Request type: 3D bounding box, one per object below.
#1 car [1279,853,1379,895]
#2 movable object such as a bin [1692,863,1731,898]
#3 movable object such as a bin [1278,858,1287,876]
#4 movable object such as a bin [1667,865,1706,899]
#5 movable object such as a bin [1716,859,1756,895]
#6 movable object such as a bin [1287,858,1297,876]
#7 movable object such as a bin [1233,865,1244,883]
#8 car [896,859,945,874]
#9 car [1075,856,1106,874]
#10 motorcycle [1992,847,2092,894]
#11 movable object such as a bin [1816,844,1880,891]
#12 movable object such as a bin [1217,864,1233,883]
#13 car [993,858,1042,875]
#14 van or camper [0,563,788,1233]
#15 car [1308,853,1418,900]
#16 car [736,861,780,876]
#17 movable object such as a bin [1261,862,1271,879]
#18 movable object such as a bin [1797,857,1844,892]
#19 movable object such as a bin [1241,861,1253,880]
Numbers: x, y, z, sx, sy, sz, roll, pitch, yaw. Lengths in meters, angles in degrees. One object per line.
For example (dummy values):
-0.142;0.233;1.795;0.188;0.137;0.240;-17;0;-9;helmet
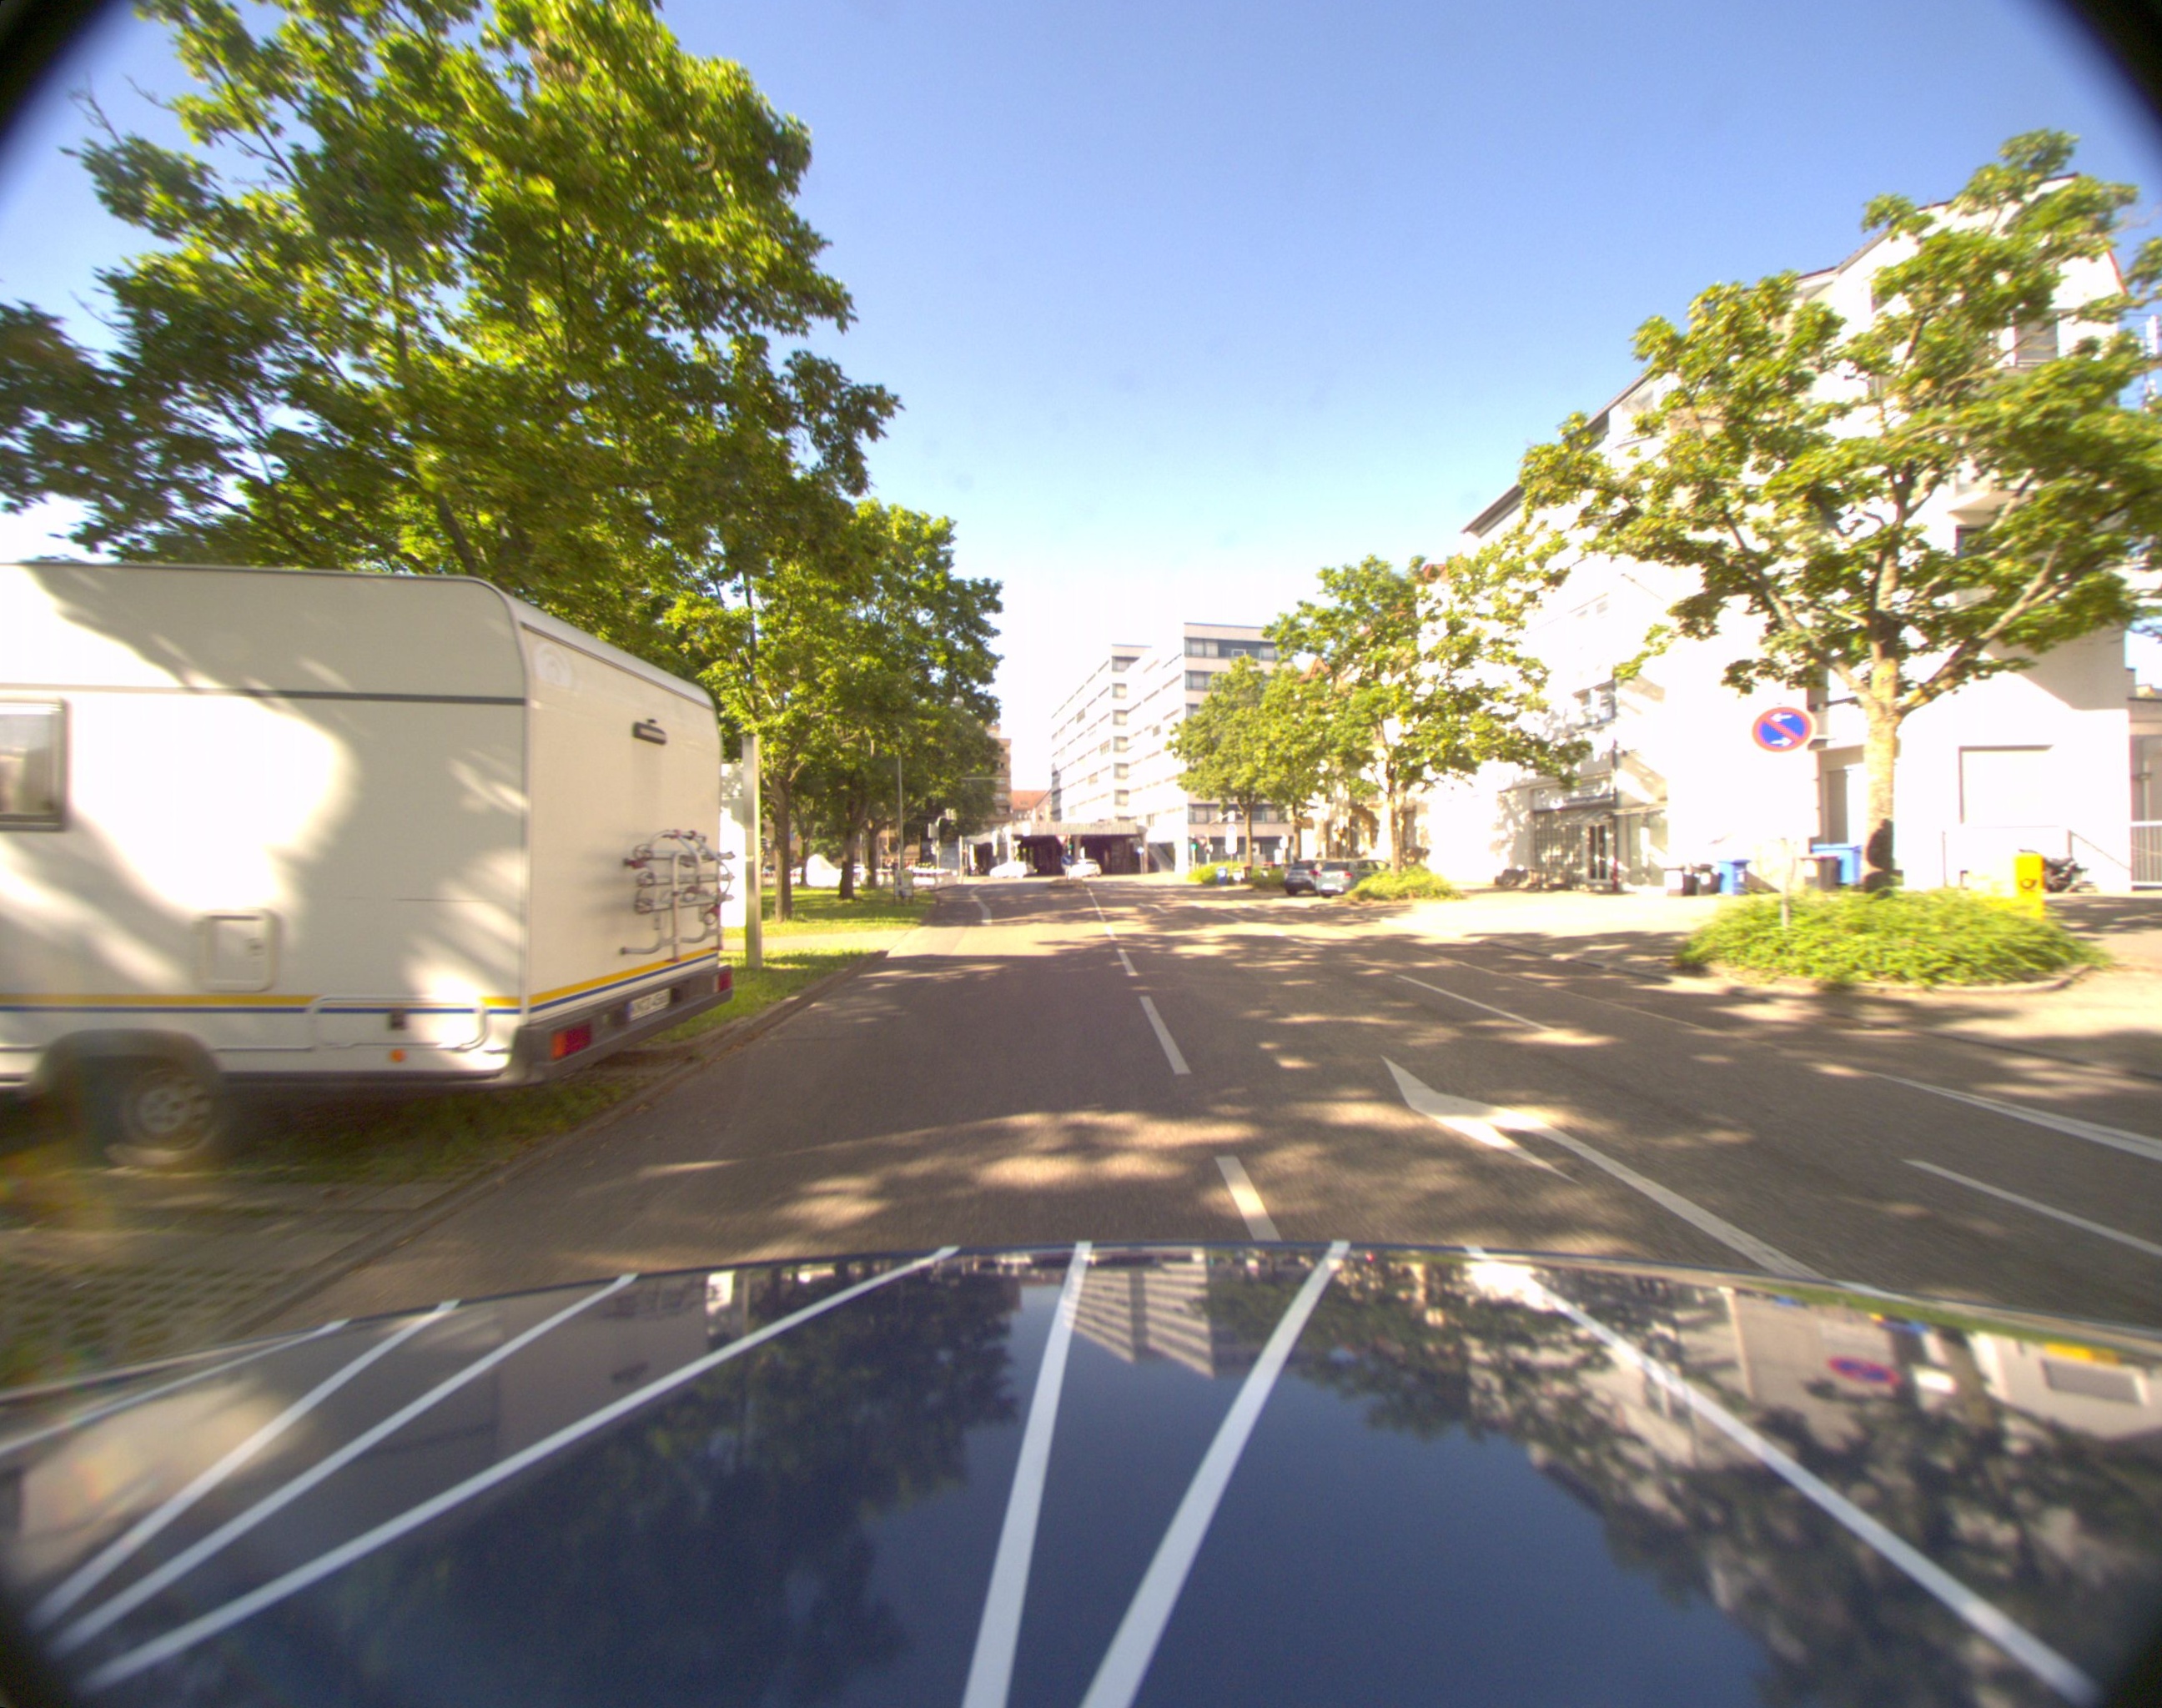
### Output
10.202;0.774;31.149;4.006;1.455;1.806;-3;1;-34;car
17.580;0.733;21.198;0.622;0.922;0.575;-1;0;-5;movable object such as a bin
12.337;0.782;46.558;0.476;1.055;0.551;0;1;24;movable object such as a bin
16.865;0.763;21.171;0.622;0.922;0.575;-1;0;-5;movable object such as a bin
18.351;0.642;21.284;0.622;0.967;0.575;-1;1;-5;movable object such as a bin
12.869;0.778;46.316;0.476;1.055;0.551;0;1;24;movable object such as a bin
8.804;1.135;42.480;0.476;0.954;0.543;-2;1;22;movable object such as a bin
-15.863;1.272;74.971;4.312;1.398;1.932;-1;0;15;car
0.779;0.942;64.827;1.930;1.443;3.753;-1;0;-10;car
24.115;0.412;19.084;1.917;1.127;0.526;-1;1;-2;motorcycle
21.434;0.362;21.260;0.622;1.272;1.120;-1;0;-5;movable object such as a bin
8.111;1.097;42.810;0.675;1.067;0.804;0;1;24;movable object such as a bin
-5.957;1.156;71.376;4.061;1.545;1.933;-1;0;21;car
-5.369;0.172;4.710;5.998;2.966;2.670;2;0;-2;van or camper
10.469;0.791;28.099;4.006;1.455;1.806;-3;1;-34;car
-33.866;1.501;79.770;3.751;1.545;1.931;-1;0;8;car
10.715;0.952;43.921;0.476;0.938;0.543;0;1;24;movable object such as a bin
20.623;0.563;21.200;0.622;0.967;0.690;-1;0;-5;movable object such as a bin
9.447;0.961;43.244;0.476;1.035;0.543;-2;1;24;movable object such as a bin
